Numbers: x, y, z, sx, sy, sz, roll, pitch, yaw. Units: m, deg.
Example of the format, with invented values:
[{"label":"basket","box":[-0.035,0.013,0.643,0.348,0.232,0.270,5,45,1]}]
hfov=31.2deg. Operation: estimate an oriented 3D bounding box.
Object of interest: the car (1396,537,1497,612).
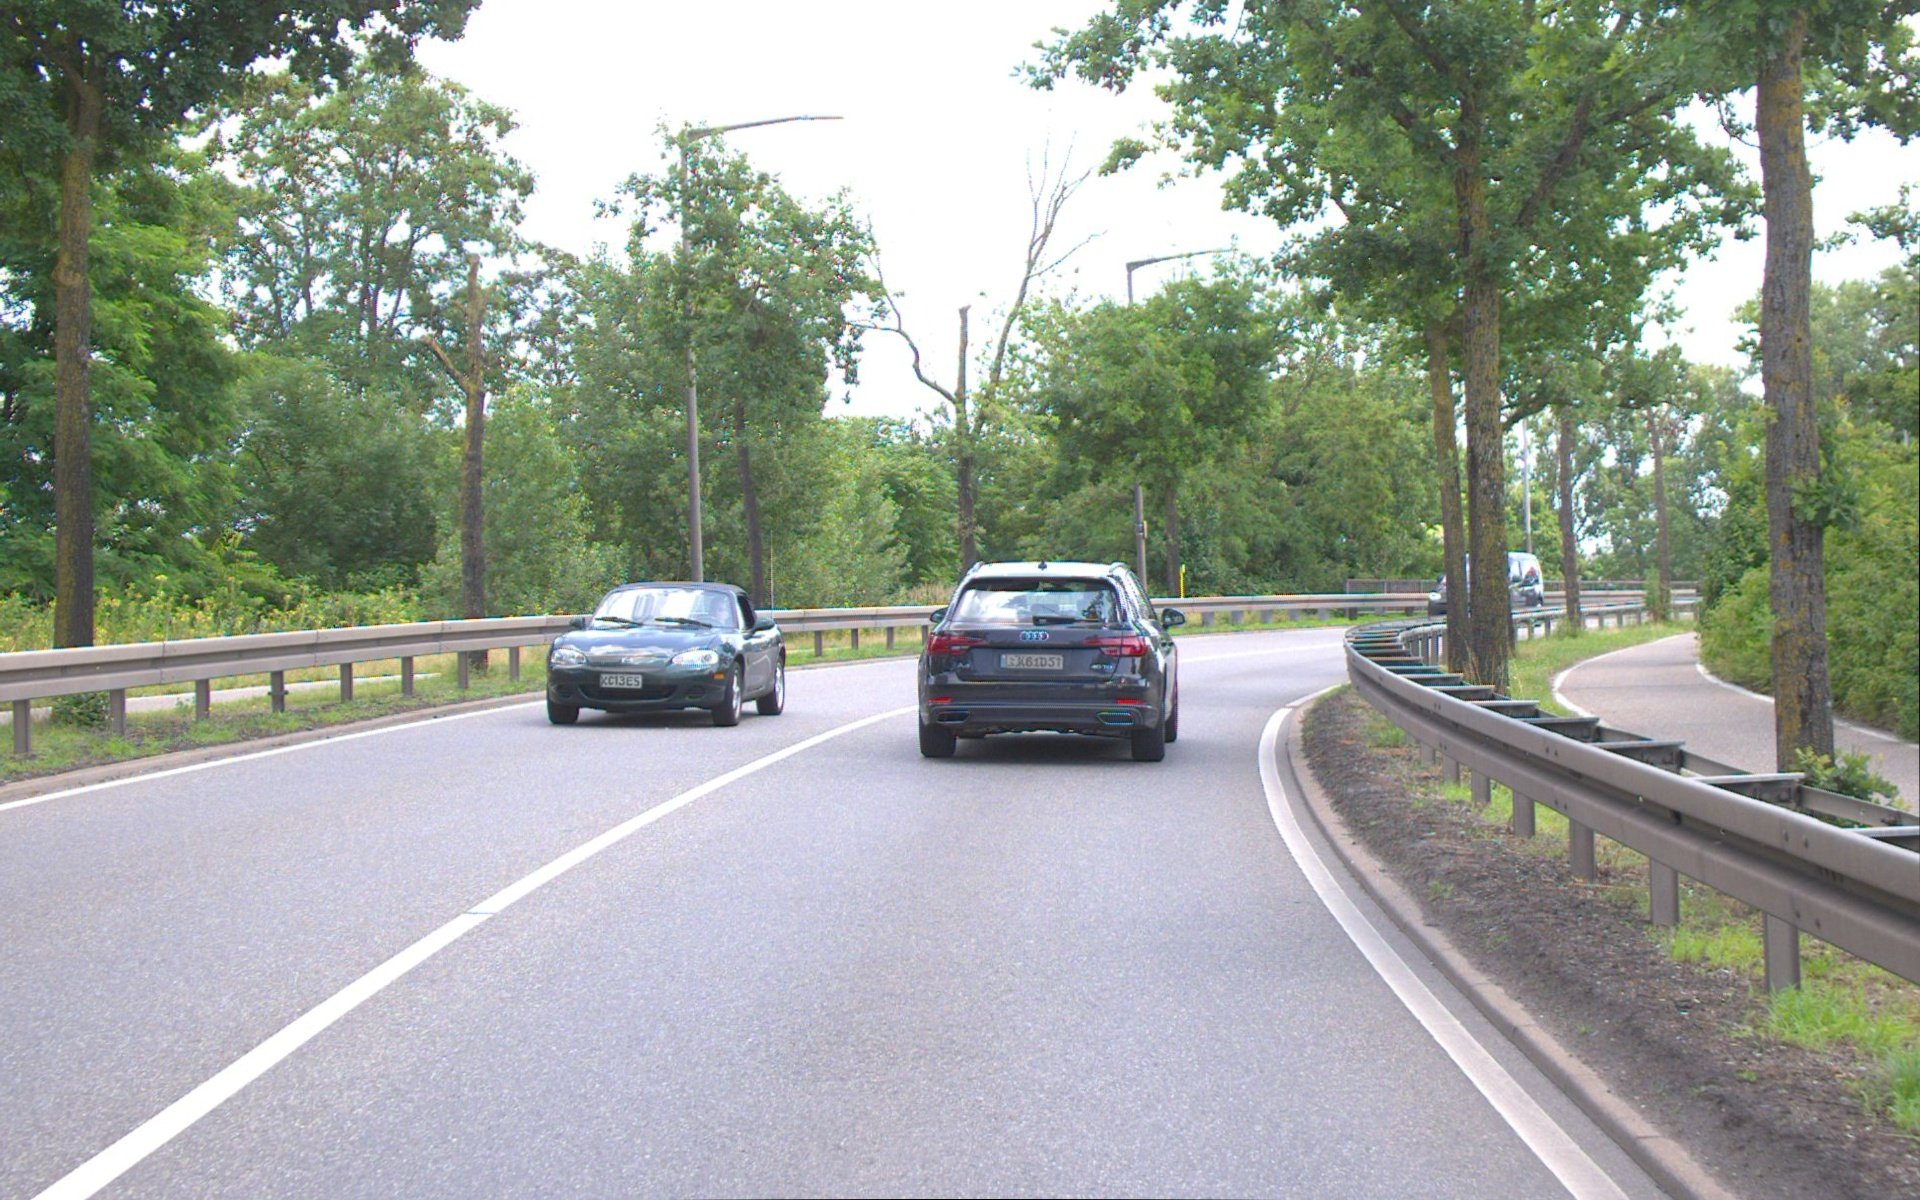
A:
[{"label":"car","box":[11.553,-0.615,81.497,1.854,1.703,4.309,1,1,15]}]

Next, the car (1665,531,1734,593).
[{"label":"car","box":[19.311,-1.008,89.738,1.579,1.515,3.998,-1,1,14]}]

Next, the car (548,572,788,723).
[{"label":"car","box":[-2.523,0.377,30.461,1.592,1.214,3.790,1,1,3]}]

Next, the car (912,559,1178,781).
[{"label":"car","box":[0.652,0.463,25.975,1.828,1.486,4.207,1,1,2]}]
